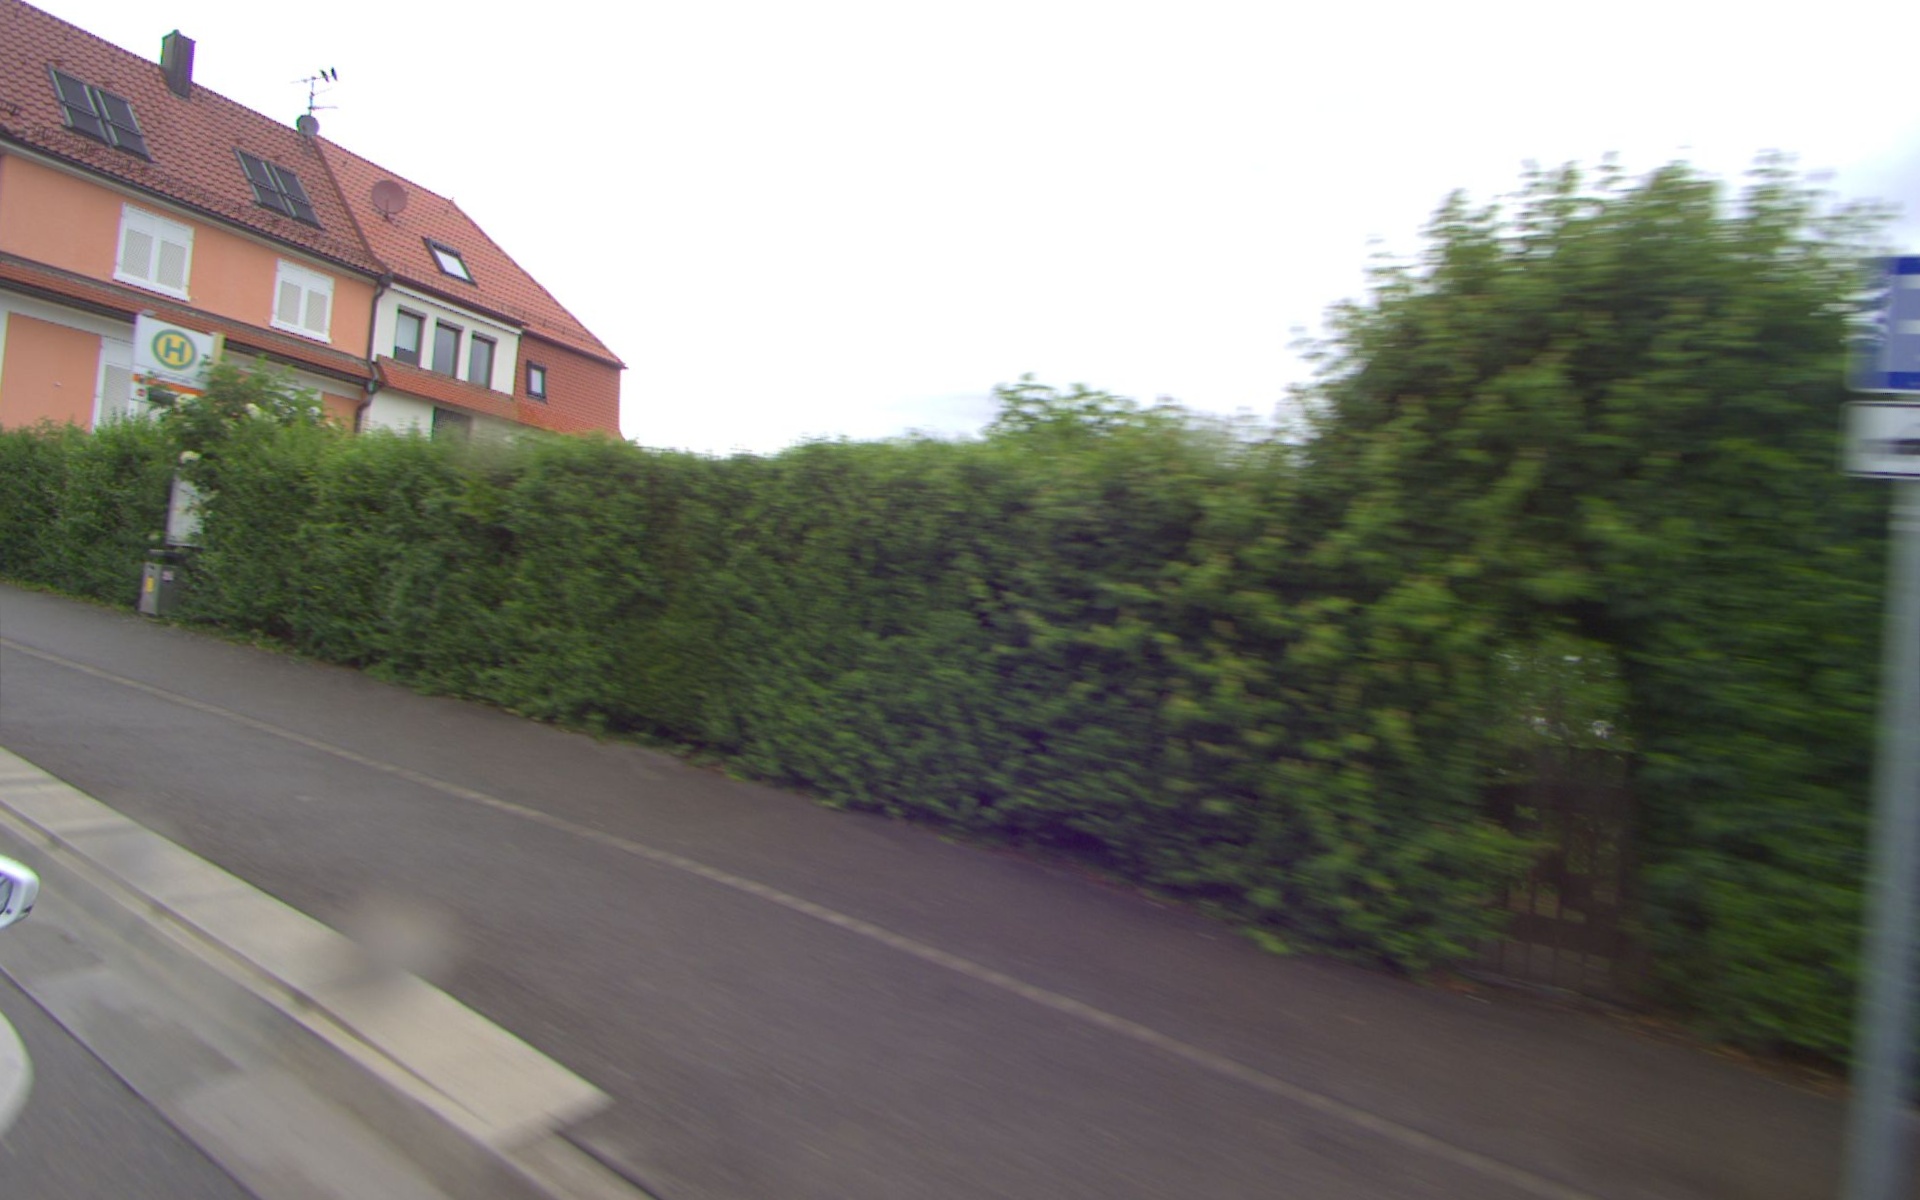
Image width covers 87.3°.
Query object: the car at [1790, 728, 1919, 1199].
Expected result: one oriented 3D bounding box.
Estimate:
[{"bbox_3d":[3.666,1.241,0.916,4.133,1.548,1.758,7,-2,29],"label":"car"}]
